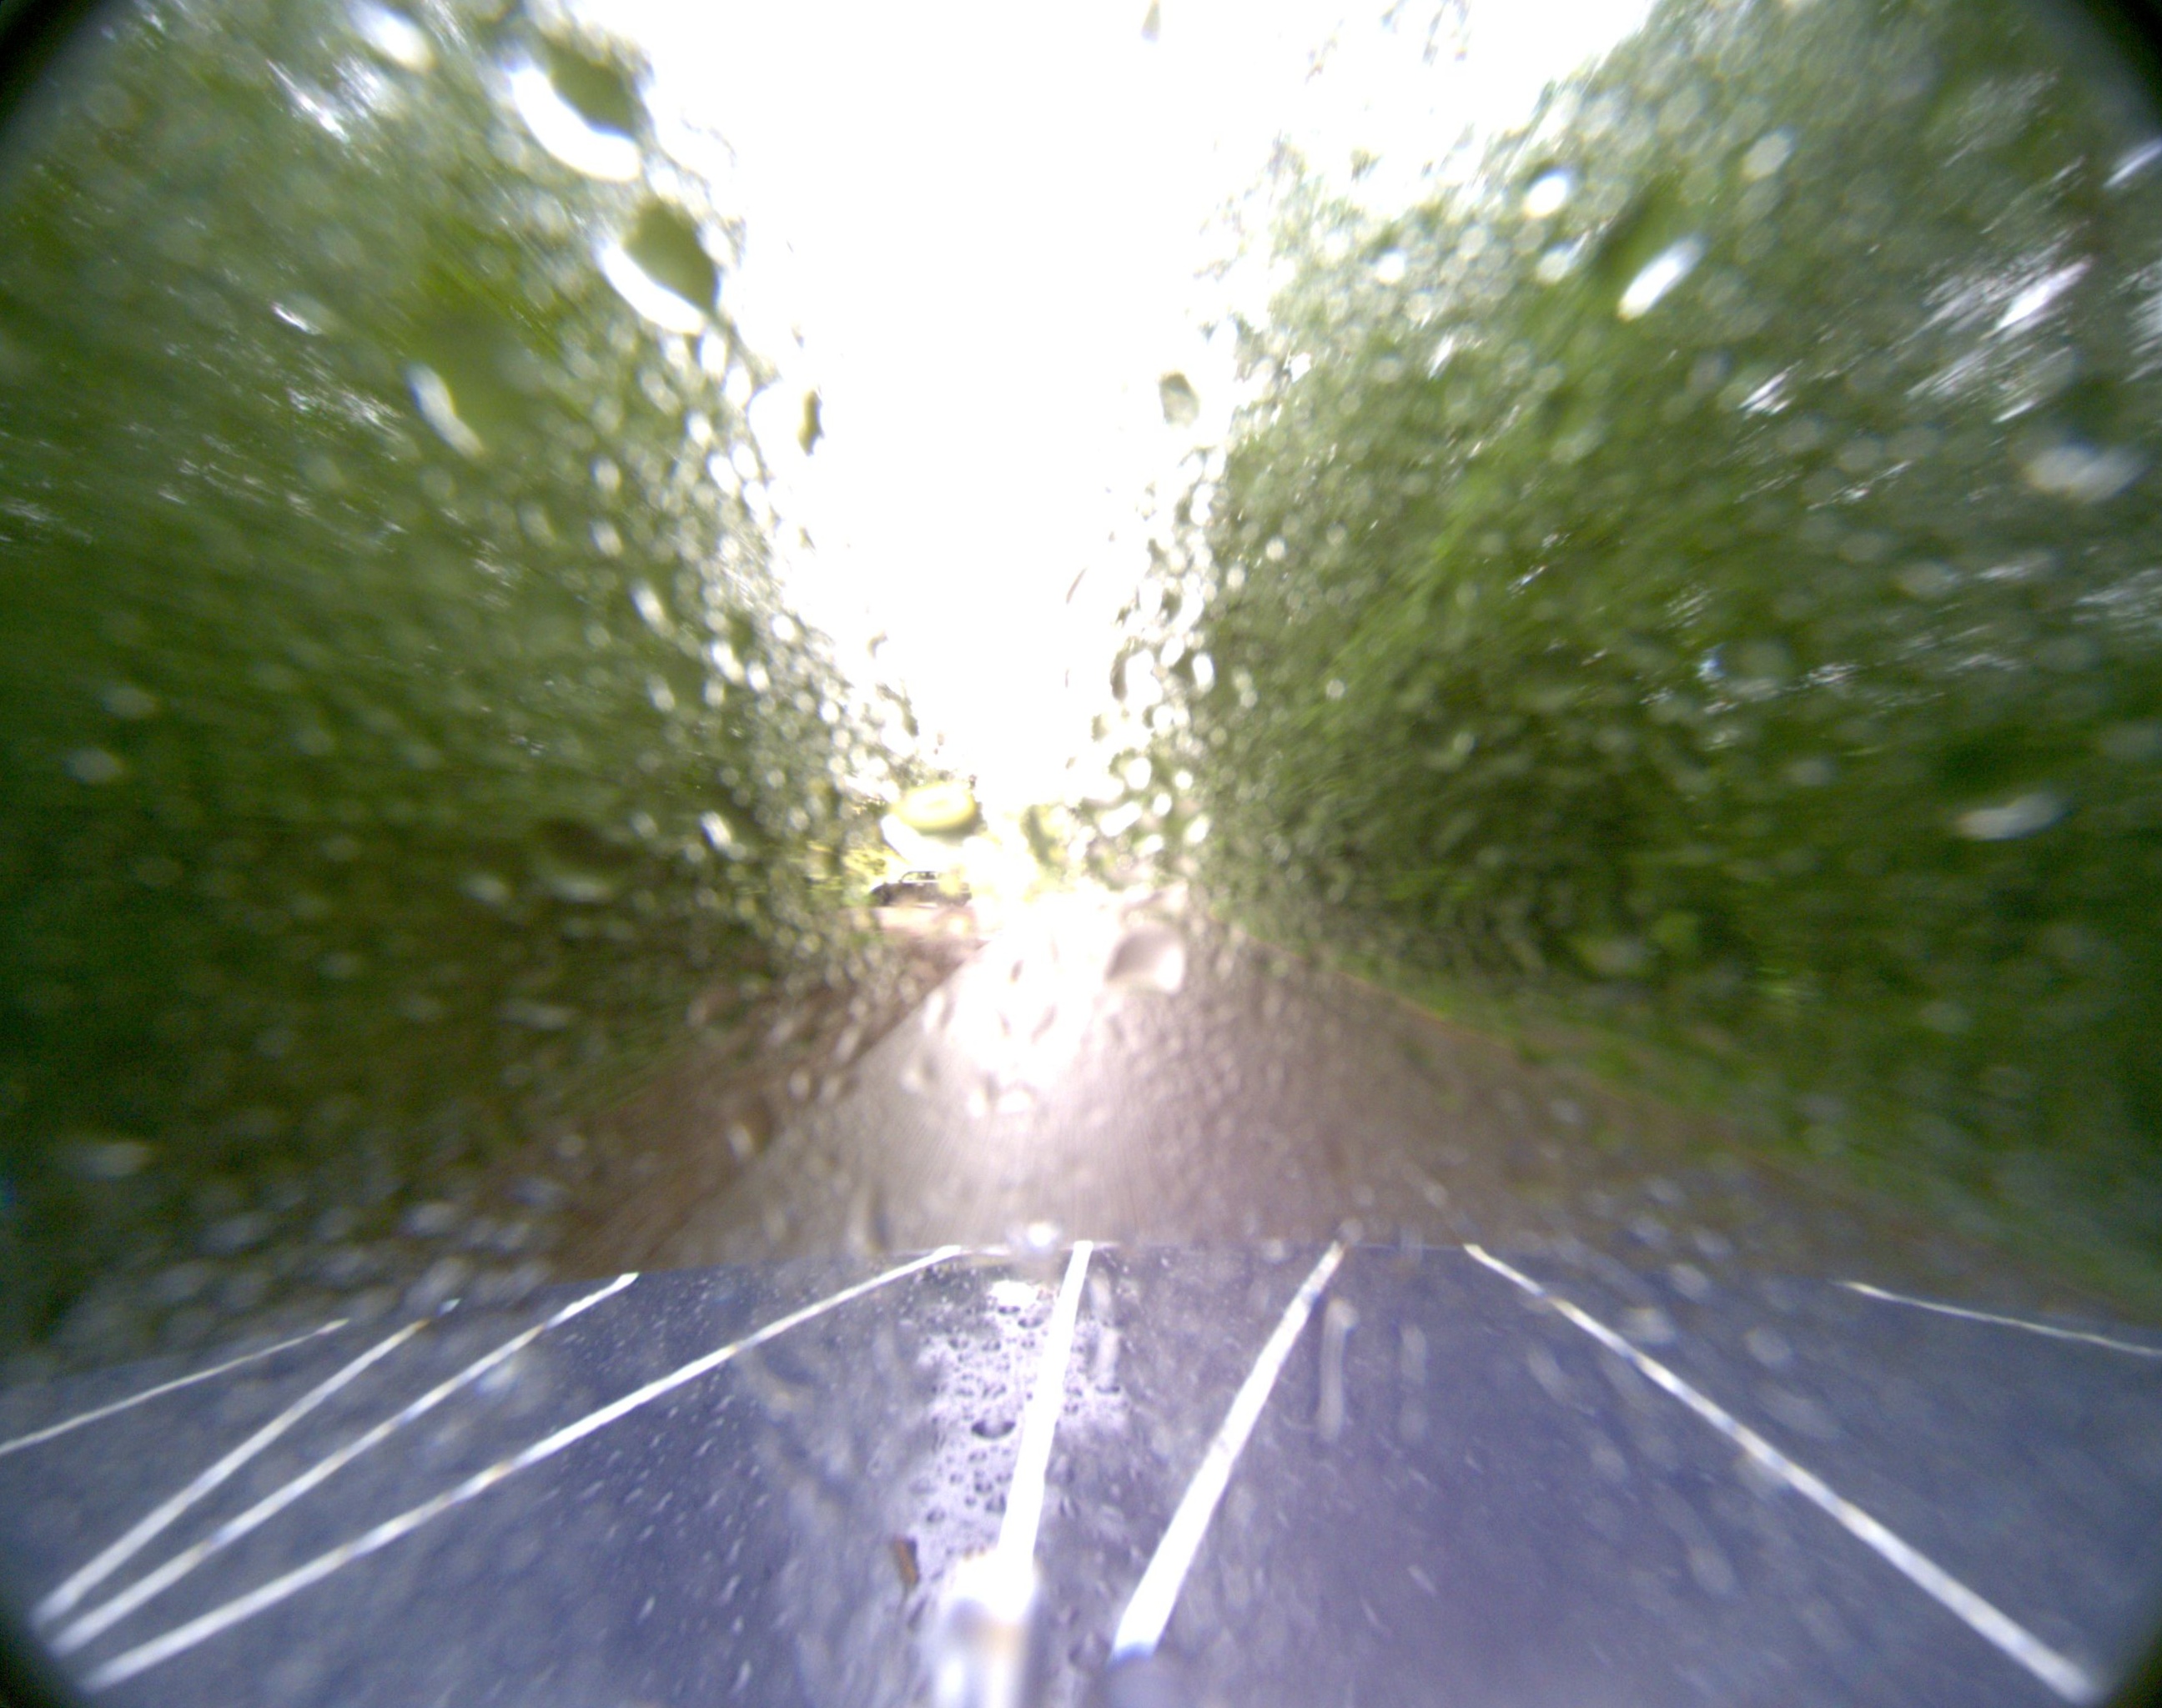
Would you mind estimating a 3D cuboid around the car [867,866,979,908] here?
[{"bbox_3d":[-5.890,1.228,28.528,3.713,1.427,1.709,-1,0,13],"label":"car"}]
